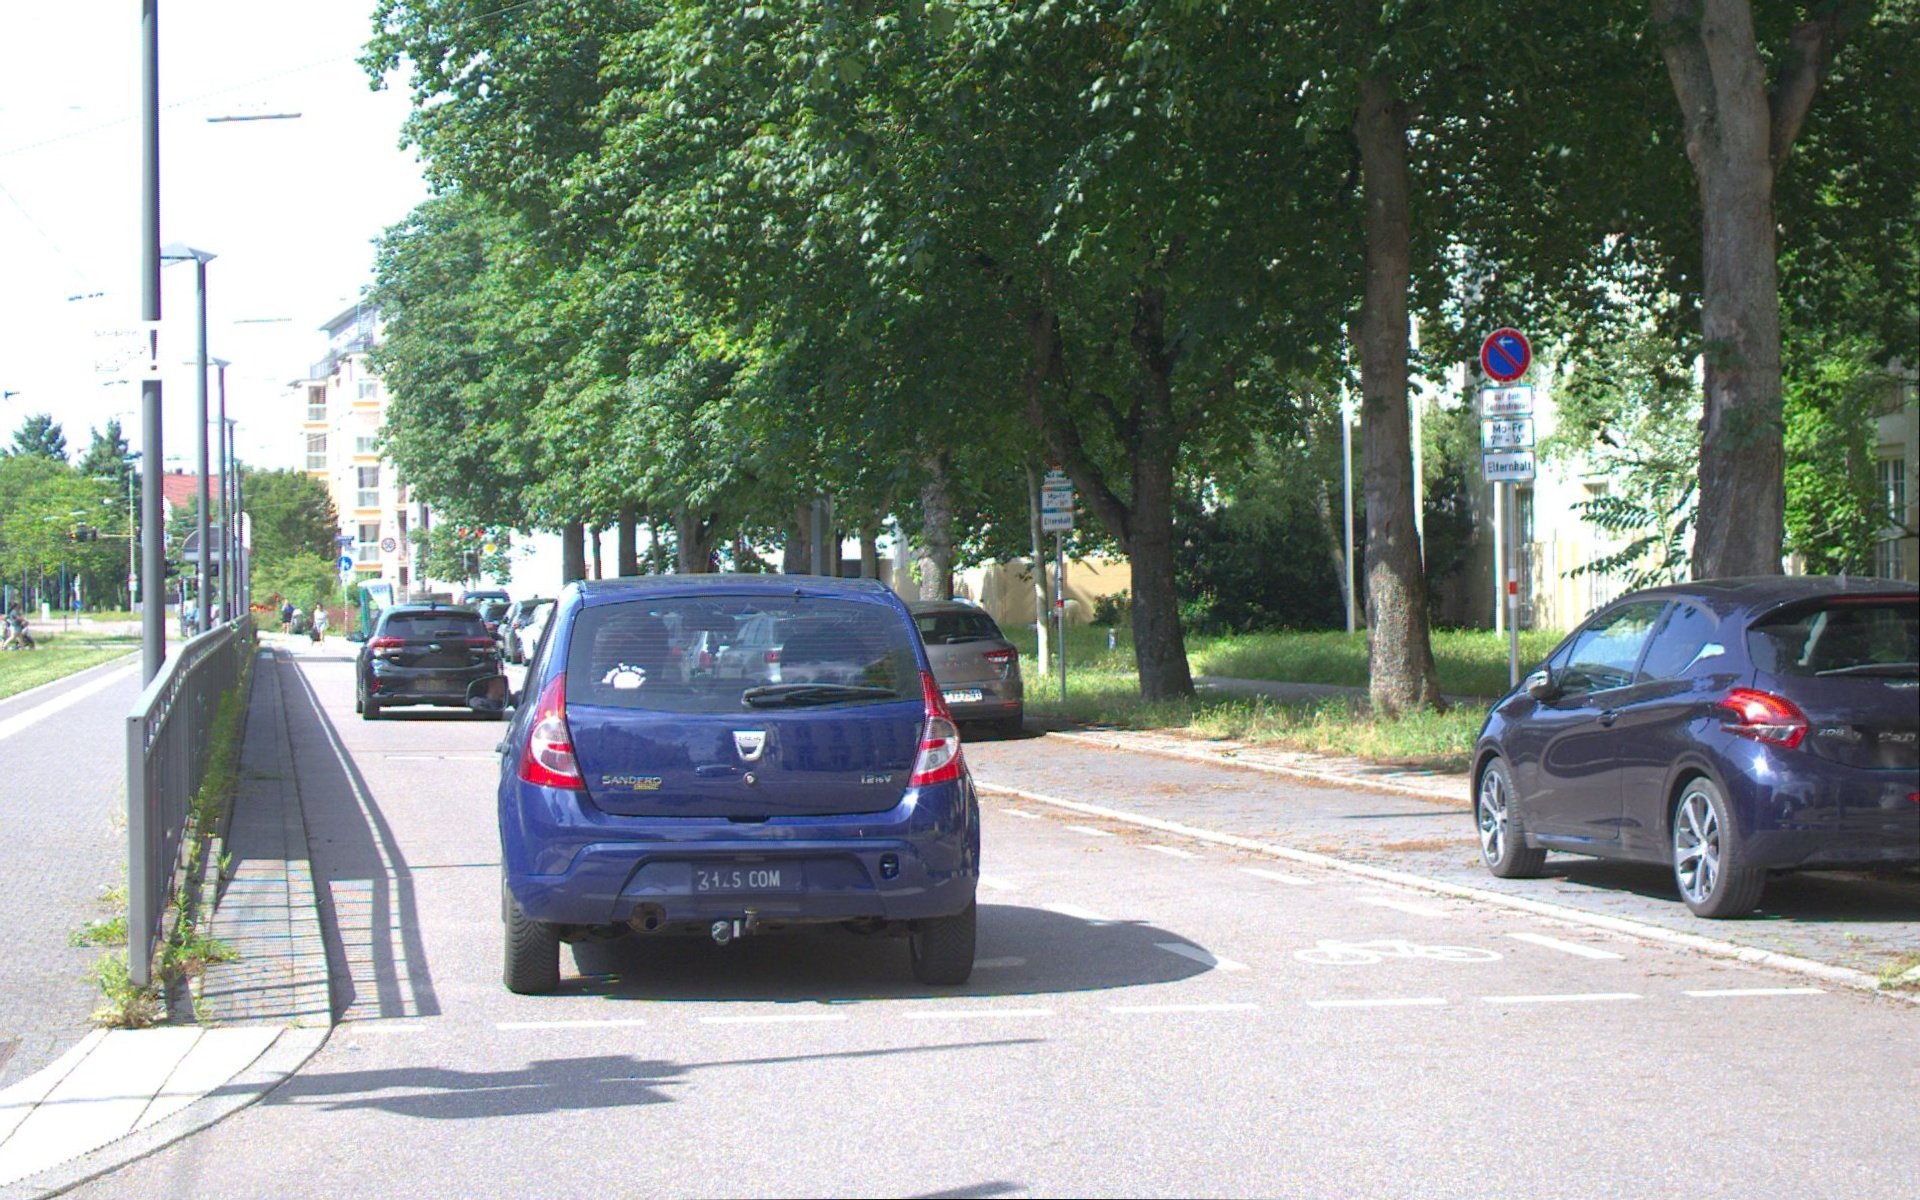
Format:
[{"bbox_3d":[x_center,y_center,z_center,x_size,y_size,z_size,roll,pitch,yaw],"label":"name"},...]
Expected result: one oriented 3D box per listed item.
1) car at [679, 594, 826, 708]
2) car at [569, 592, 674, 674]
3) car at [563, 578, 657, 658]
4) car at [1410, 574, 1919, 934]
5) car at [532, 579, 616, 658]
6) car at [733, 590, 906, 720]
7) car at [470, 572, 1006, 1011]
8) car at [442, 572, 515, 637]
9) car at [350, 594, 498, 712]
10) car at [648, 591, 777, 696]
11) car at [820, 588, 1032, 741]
[{"bbox_3d":[-2.943,0.677,48.117,1.861,1.440,4.001,-2,0,-5],"label":"car"},{"bbox_3d":[-6.378,0.600,64.937,1.861,1.440,4.001,-2,0,-5],"label":"car"},{"bbox_3d":[-7.150,0.344,70.414,1.827,1.532,4.001,-2,0,-5],"label":"car"},{"bbox_3d":[3.608,0.616,16.070,1.765,1.428,3.905,-2,0,-12],"label":"car"},{"bbox_3d":[-8.884,0.408,78.919,1.617,1.744,4.001,-1,0,-10],"label":"car"},{"bbox_3d":[-1.783,0.641,42.490,1.861,1.440,4.001,-2,0,-5],"label":"car"},{"bbox_3d":[-1.008,0.631,13.521,1.767,1.457,3.776,-1,0,-9],"label":"car"},{"bbox_3d":[-13.590,0.112,97.207,1.830,1.756,4.001,-1,0,-5],"label":"car"},{"bbox_3d":[-6.734,0.639,43.427,1.699,1.363,3.515,0,1,-6],"label":"car"},{"bbox_3d":[-3.820,0.631,52.610,1.851,1.510,4.001,-1,0,-5],"label":"car"},{"bbox_3d":[-0.421,0.640,36.398,1.861,1.440,4.001,-2,0,-5],"label":"car"}]
